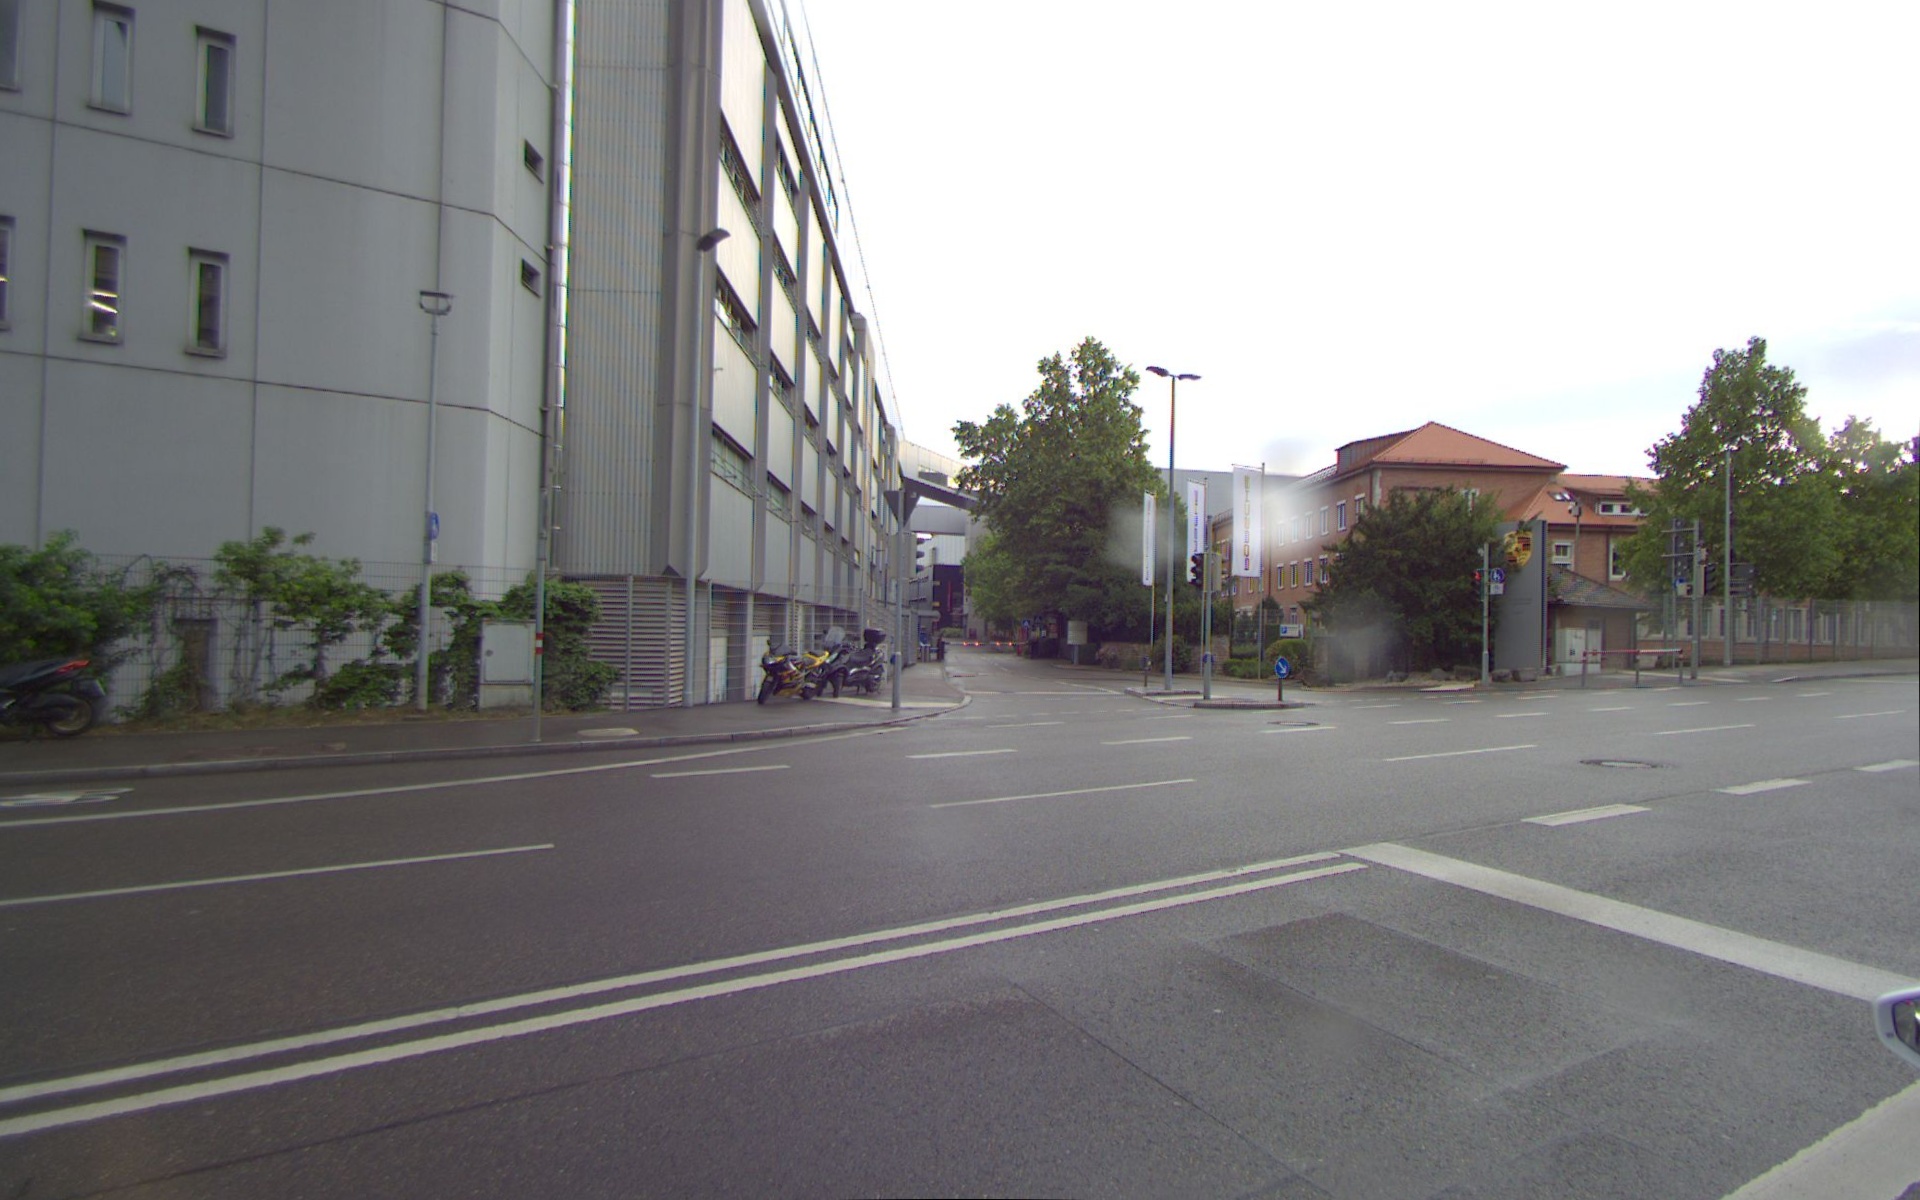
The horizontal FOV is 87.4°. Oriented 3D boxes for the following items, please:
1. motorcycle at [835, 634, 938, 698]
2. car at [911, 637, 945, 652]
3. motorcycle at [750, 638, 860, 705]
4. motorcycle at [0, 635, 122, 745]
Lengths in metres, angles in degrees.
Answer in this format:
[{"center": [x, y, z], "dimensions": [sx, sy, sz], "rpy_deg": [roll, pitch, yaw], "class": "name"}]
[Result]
[{"center": [-1.604, 1.435, 22.535], "dimensions": [1.008, 1.355, 2.772], "rpy_deg": [-1, -2, 27], "class": "motorcycle"}, {"center": [-4.121, 5.787, 130.726], "dimensions": [3.913, 1.849, 1.955], "rpy_deg": [2, 0, -31], "class": "car"}, {"center": [-3.057, 1.389, 20.098], "dimensions": [0.759, 1.234, 2.504], "rpy_deg": [0, -2, 30], "class": "motorcycle"}, {"center": [-11.361, 1.047, 11.856], "dimensions": [2.133, 1.263, 0.780], "rpy_deg": [2, -2, -32], "class": "motorcycle"}]
